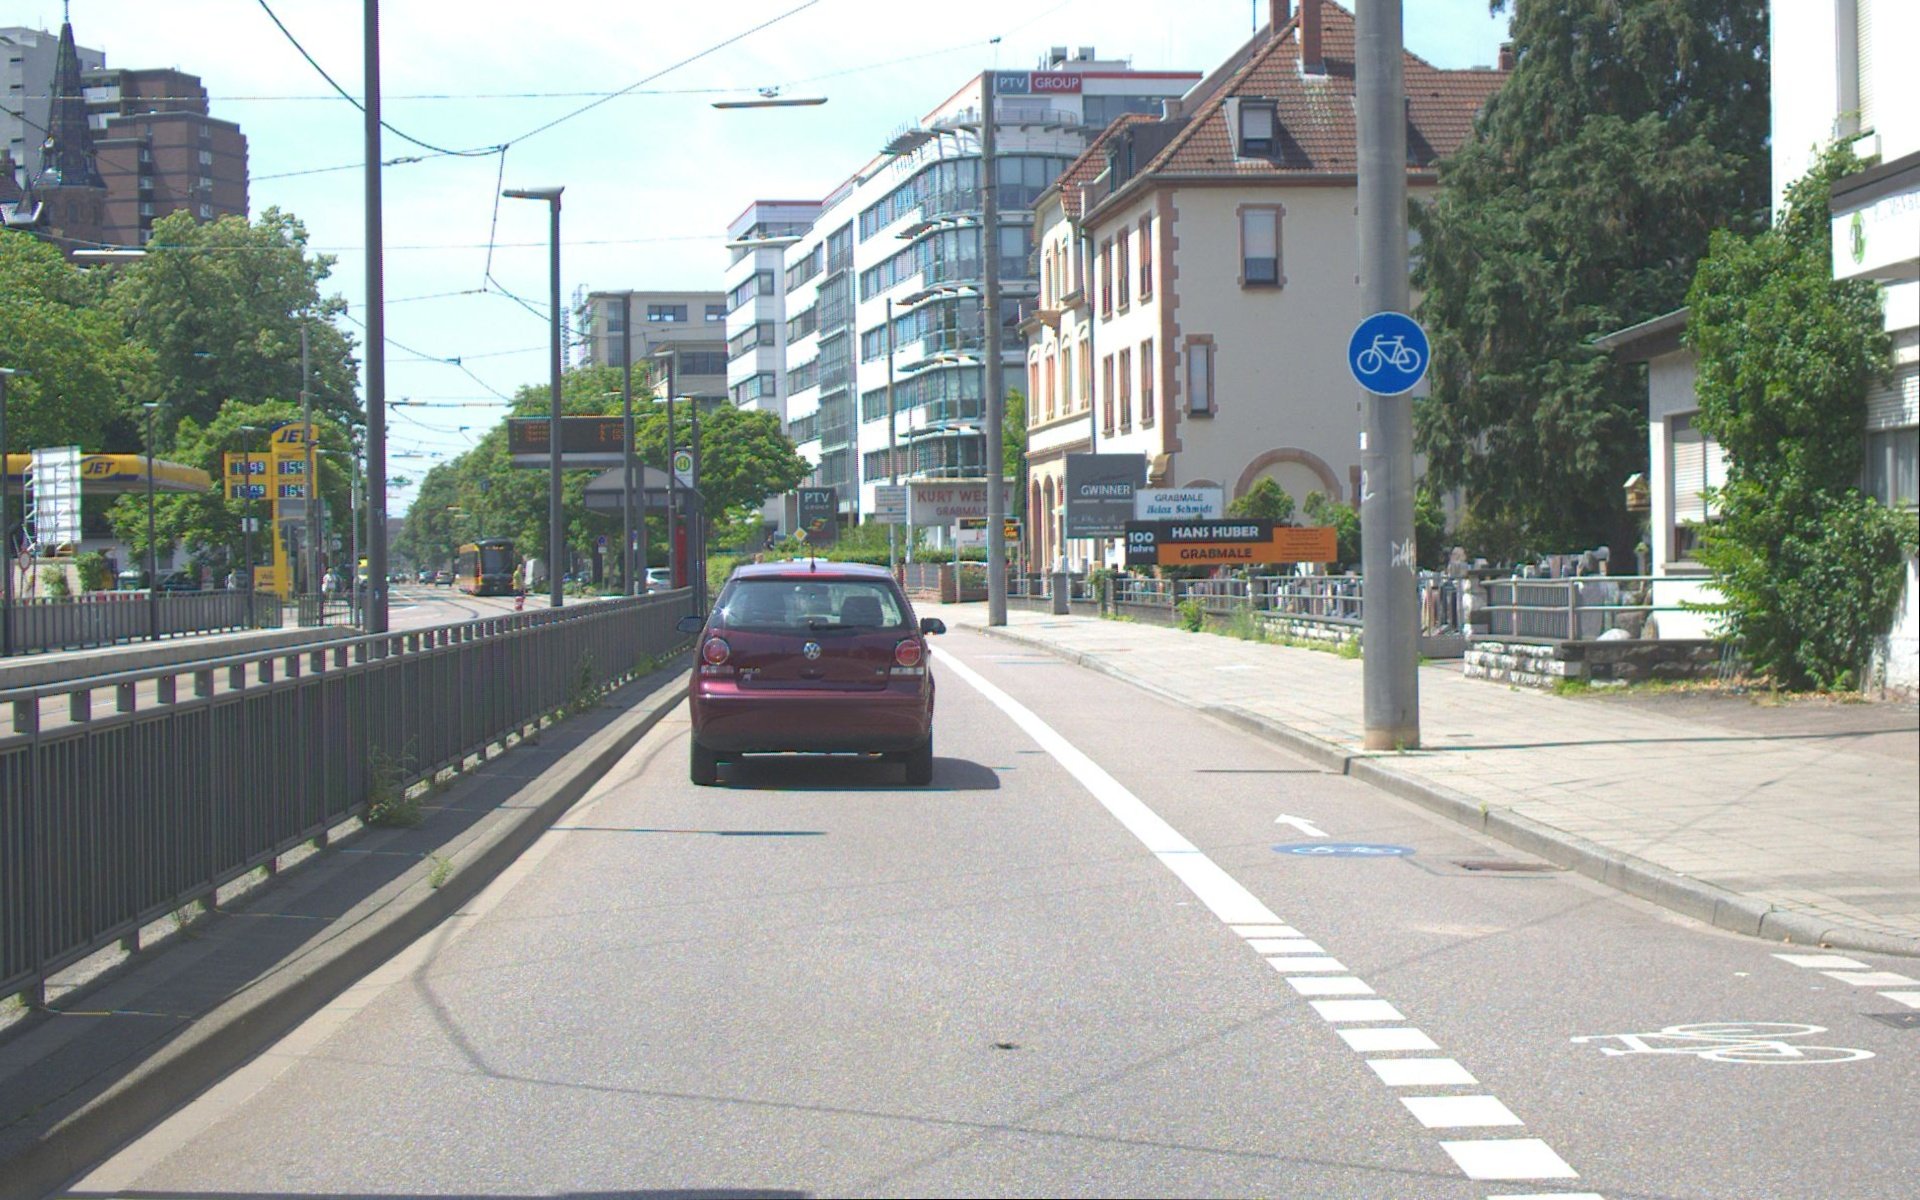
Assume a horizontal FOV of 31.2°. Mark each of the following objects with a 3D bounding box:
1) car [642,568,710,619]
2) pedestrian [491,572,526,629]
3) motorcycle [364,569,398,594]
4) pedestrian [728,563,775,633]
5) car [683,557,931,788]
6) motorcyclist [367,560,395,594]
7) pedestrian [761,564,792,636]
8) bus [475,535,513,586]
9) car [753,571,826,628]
[{"bbox_3d":[-10.824,-0.267,130.633,1.993,1.842,4.001,-2,1,-13],"label":"car"},{"bbox_3d":[-16.188,0.018,123.196,1.109,2.007,1.039,-1,0,-1],"label":"pedestrian"},{"bbox_3d":[-19.978,-0.639,118.623,0.872,0.803,1.910,-1,1,-1],"label":"motorcycle"},{"bbox_3d":[-5.511,-0.058,90.900,1.168,1.830,0.792,-1,1,-4],"label":"pedestrian"},{"bbox_3d":[-1.048,0.446,23.556,1.561,1.448,3.062,-1,1,-3],"label":"car"},{"bbox_3d":[-19.984,-0.795,118.597,0.849,1.136,0.634,-1,1,-1],"label":"motorcyclist"},{"bbox_3d":[-4.792,-0.007,89.593,0.744,1.830,0.792,-1,1,-4],"label":"pedestrian"},{"bbox_3d":[-28.513,-2.408,210.332,2.144,2.993,6.575,-1,1,-8],"label":"bus"},{"bbox_3d":[-5.086,-0.035,102.075,1.993,1.619,4.632,-1,1,-5],"label":"car"}]
